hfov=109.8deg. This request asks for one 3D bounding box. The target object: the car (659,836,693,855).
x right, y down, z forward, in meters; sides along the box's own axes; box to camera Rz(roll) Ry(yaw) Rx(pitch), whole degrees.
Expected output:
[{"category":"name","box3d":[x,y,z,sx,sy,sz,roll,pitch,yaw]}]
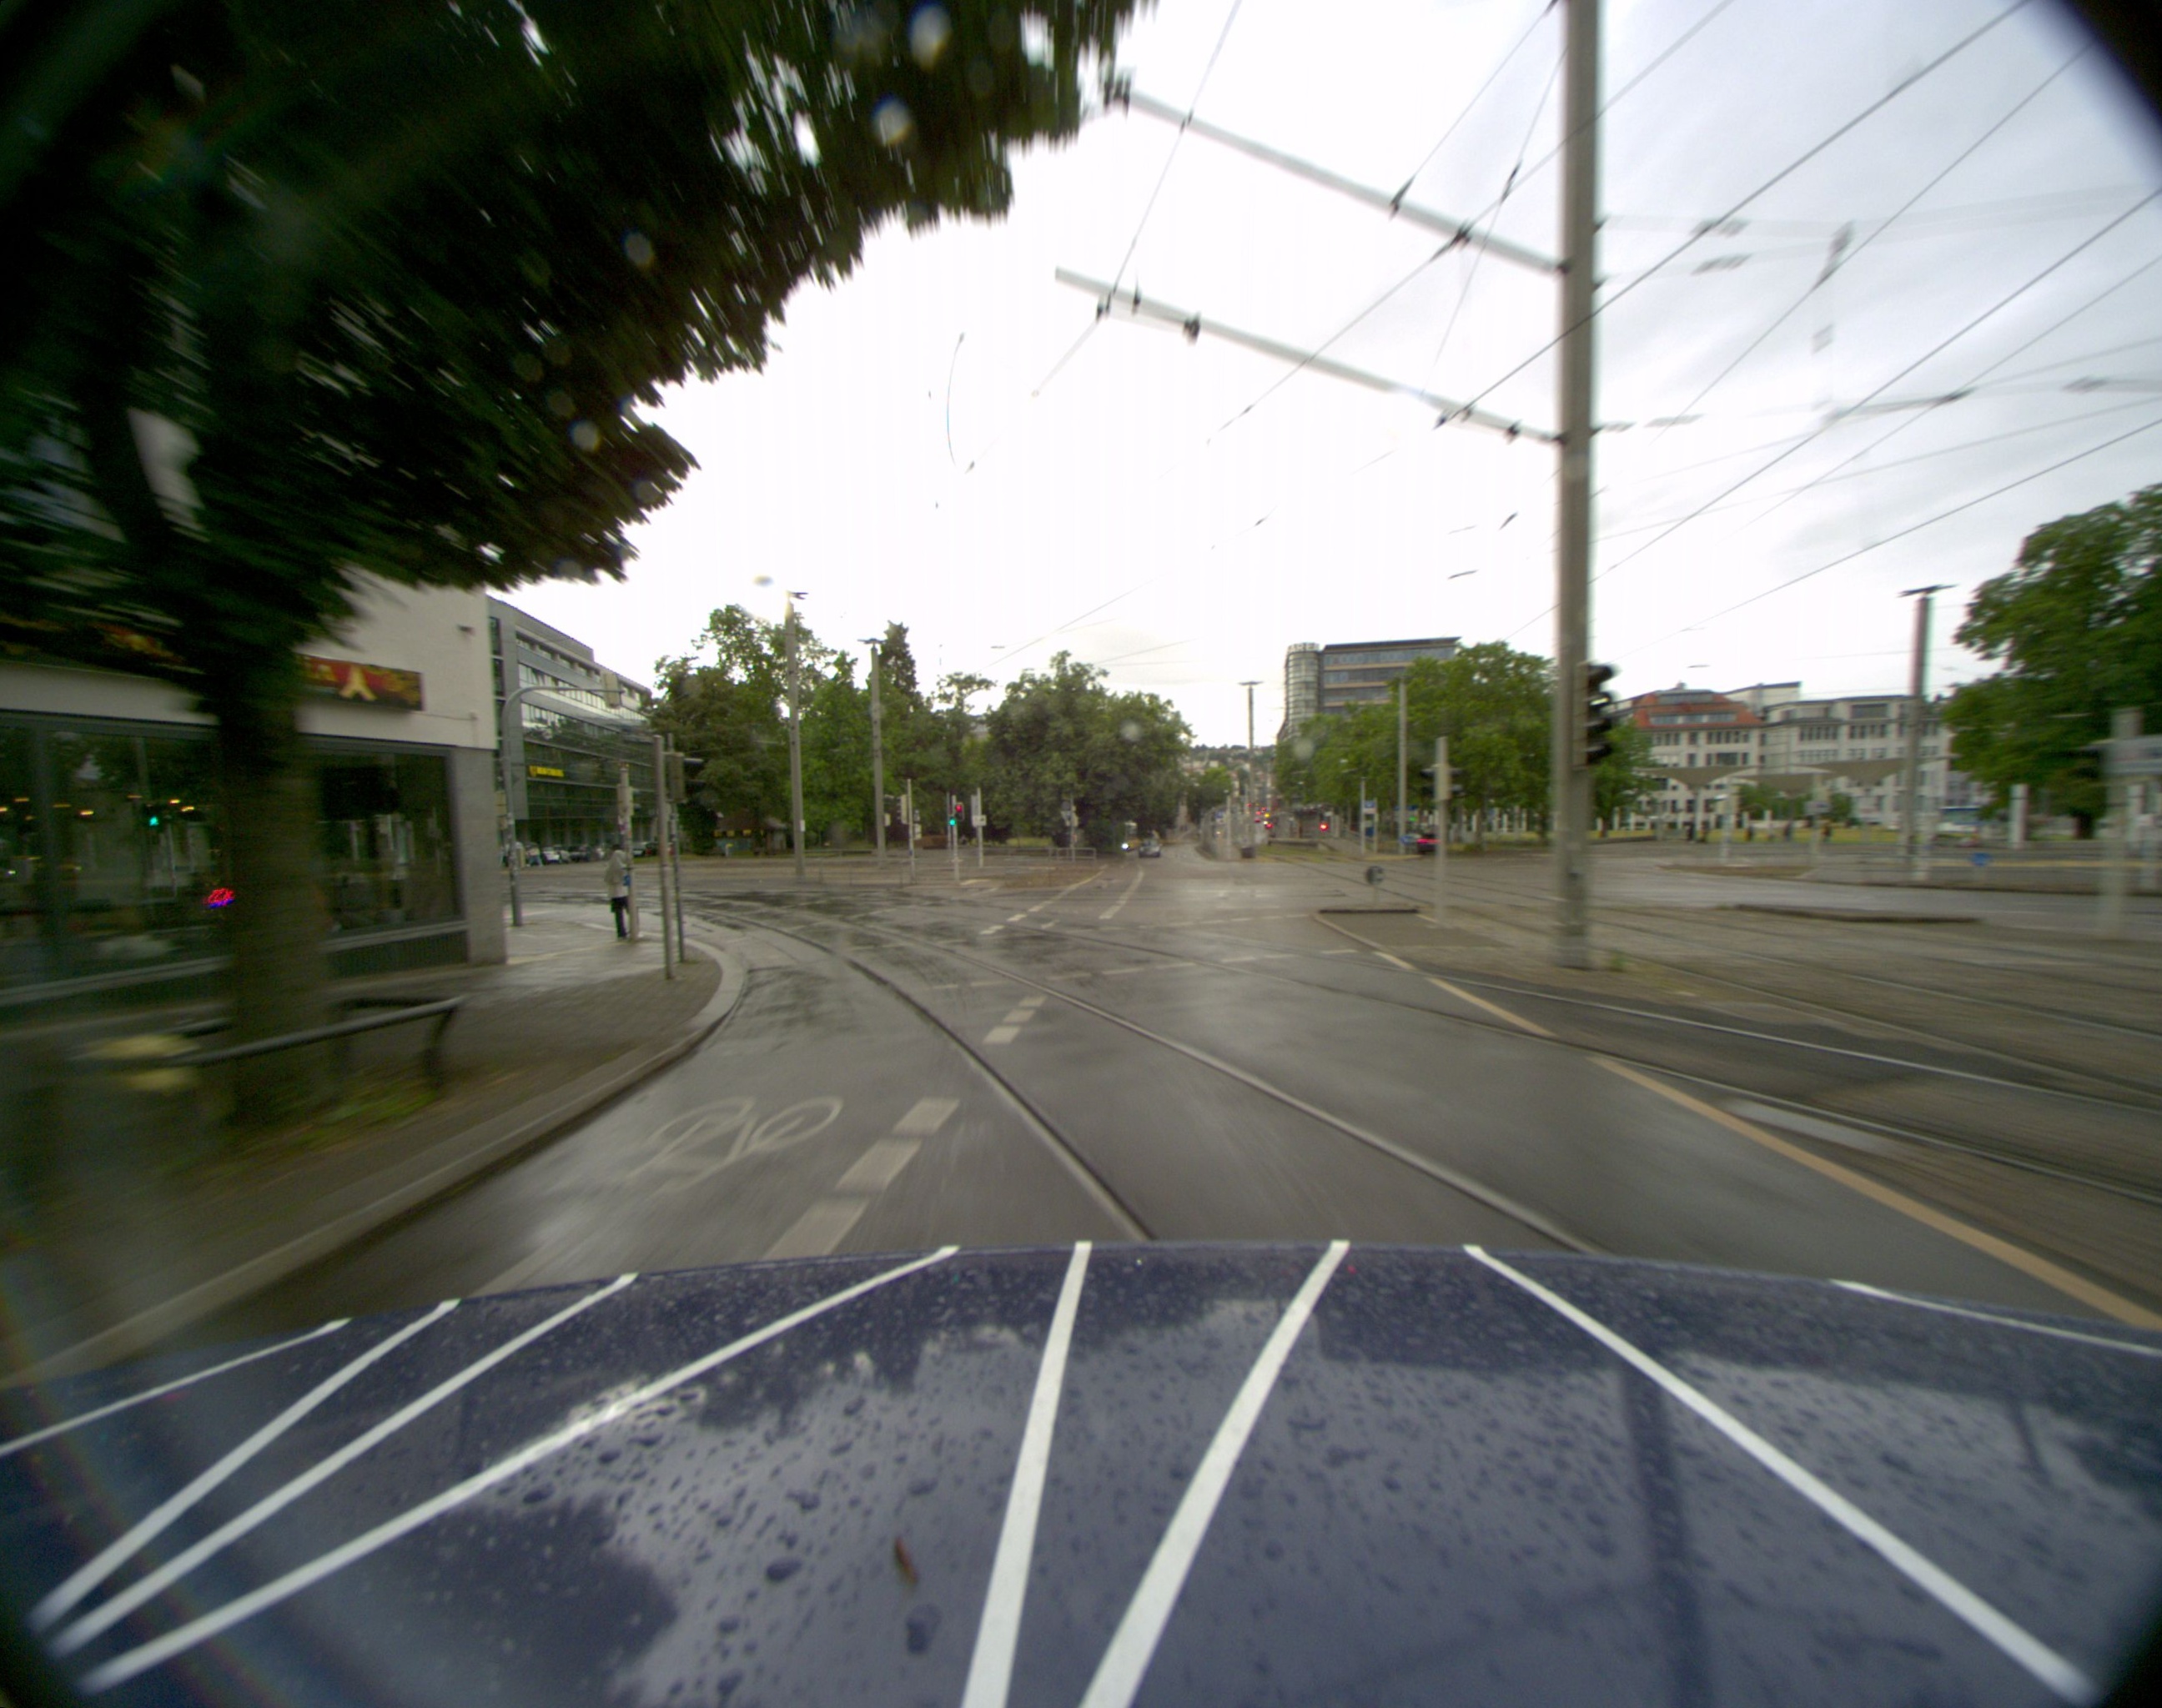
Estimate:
[{"category":"car","box3d":[-34.074,-0.765,63.998,1.703,1.440,3.534,-2,2,-15]}]

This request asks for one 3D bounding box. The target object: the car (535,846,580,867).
[{"category":"car","box3d":[-40.836,0.143,59.376,1.703,1.446,3.735,-2,2,-16]}]

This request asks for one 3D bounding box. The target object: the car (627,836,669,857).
[{"category":"car","box3d":[-33.145,-0.578,58.209,1.703,1.440,3.535,-2,2,-12]}]

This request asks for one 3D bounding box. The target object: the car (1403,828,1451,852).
[{"category":"car","box3d":[23.946,-1.008,52.759,2.102,1.497,4.734,-1,3,13]}]

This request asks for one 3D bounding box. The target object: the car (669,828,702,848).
[{"category":"car","box3d":[-47.387,-1.923,91.189,2.334,2.208,5.061,-2,2,-14]}]

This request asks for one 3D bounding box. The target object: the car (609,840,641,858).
[{"category":"car","box3d":[-43.567,-0.482,72.666,1.704,1.546,3.534,-2,2,-17]}]

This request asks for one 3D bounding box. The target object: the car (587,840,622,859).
[{"category":"car","box3d":[-42.897,-0.462,68.421,1.703,1.546,3.534,-2,2,-16]}]

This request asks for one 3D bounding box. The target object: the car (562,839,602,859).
[{"category":"car","box3d":[-41.493,-0.448,63.272,1.703,1.446,3.735,-2,2,-16]}]

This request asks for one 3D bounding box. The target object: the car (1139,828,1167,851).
[{"category":"car","box3d":[5.794,-1.177,60.717,1.997,1.696,4.001,-1,2,9]}]

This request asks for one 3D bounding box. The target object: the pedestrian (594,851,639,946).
[{"category":"pedestrian","box3d":[-8.707,0.806,14.249,0.529,1.703,0.703,-4,4,-41]}]

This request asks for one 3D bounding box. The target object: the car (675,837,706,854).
[{"category":"car","box3d":[-35.677,-0.803,69.501,1.703,1.440,3.534,-2,2,-15]}]
